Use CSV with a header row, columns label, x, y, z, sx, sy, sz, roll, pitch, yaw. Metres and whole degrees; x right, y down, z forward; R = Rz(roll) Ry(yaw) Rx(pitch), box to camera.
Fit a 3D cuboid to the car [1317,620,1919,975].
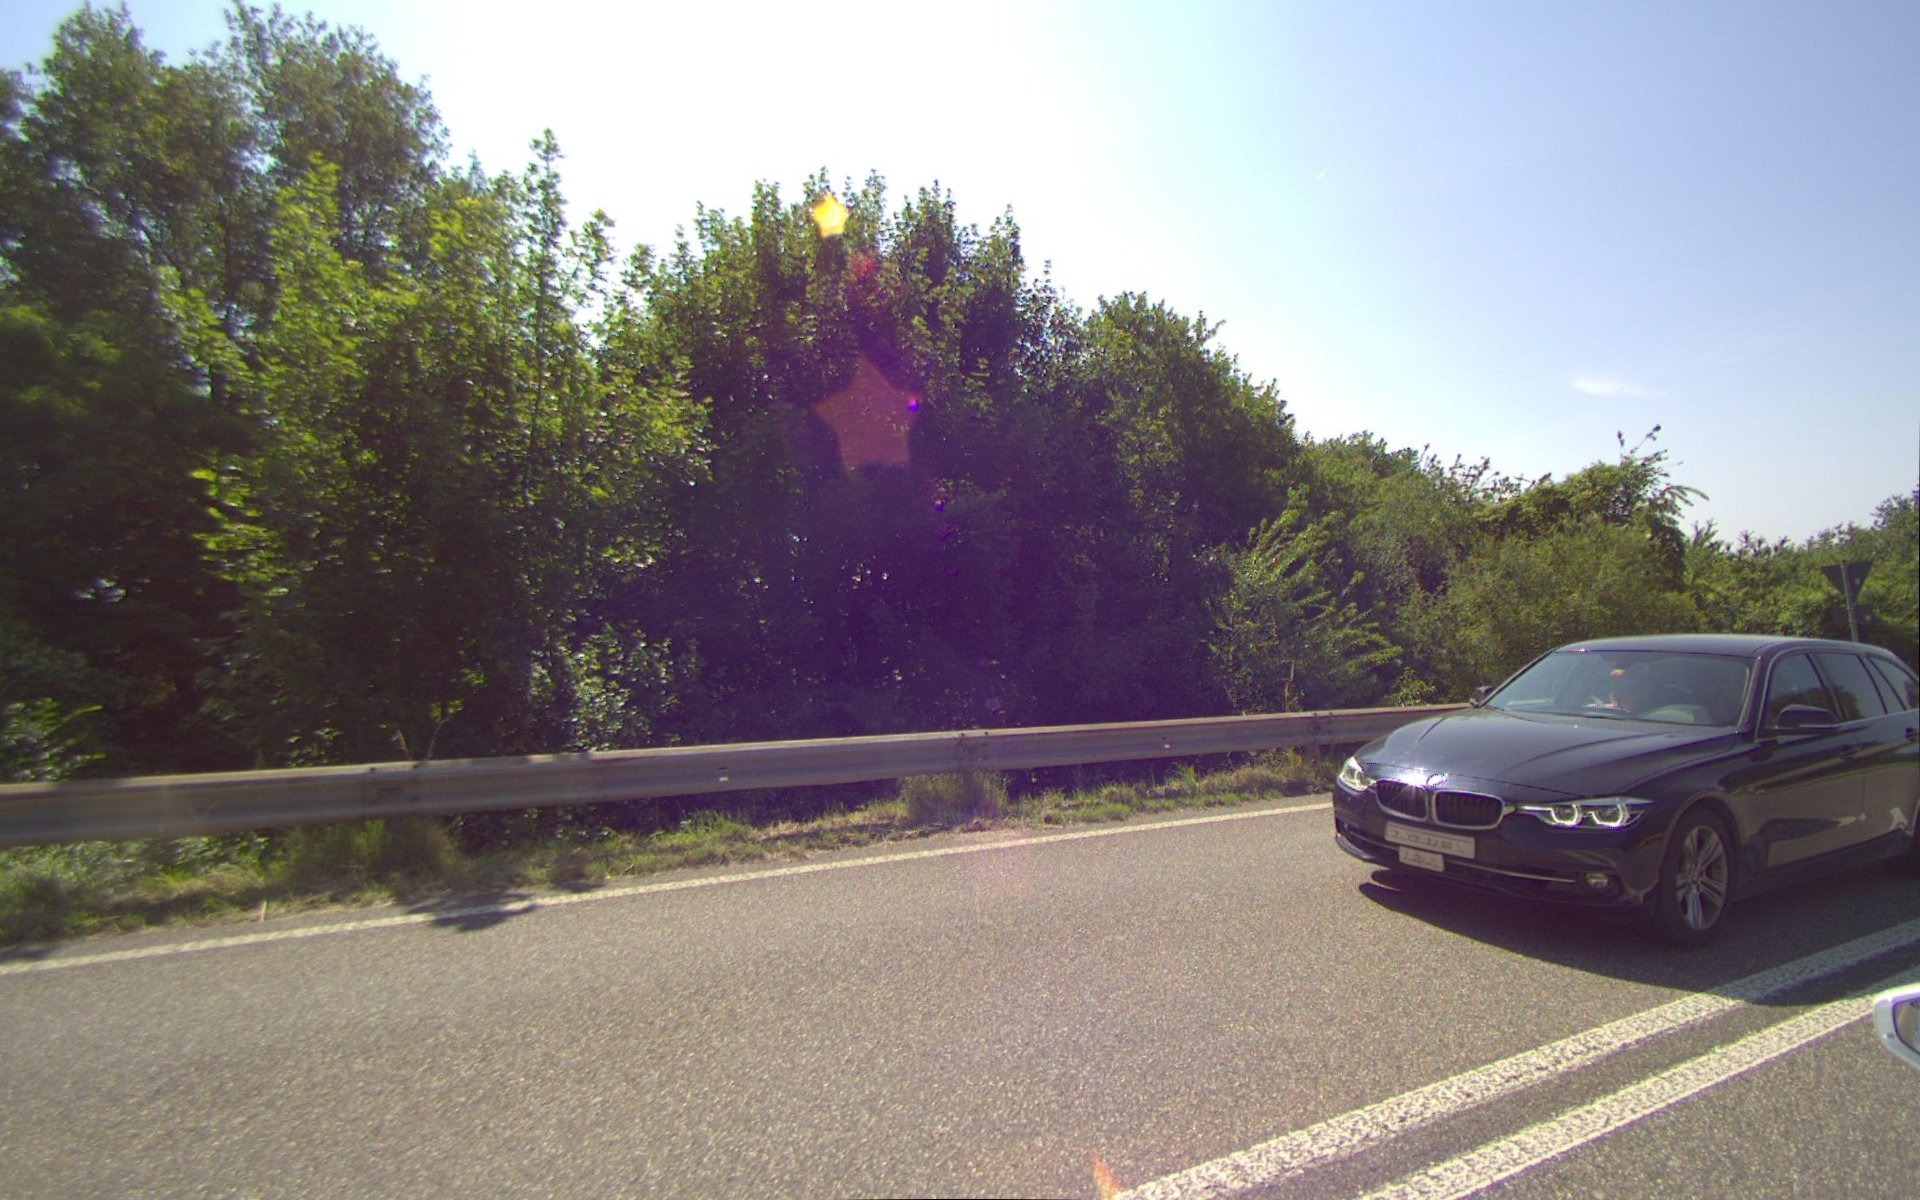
label,x,y,z,sx,sy,sz,roll,pitch,yaw
car,4.206,0.888,5.969,4.168,1.492,1.601,1,-2,-29
